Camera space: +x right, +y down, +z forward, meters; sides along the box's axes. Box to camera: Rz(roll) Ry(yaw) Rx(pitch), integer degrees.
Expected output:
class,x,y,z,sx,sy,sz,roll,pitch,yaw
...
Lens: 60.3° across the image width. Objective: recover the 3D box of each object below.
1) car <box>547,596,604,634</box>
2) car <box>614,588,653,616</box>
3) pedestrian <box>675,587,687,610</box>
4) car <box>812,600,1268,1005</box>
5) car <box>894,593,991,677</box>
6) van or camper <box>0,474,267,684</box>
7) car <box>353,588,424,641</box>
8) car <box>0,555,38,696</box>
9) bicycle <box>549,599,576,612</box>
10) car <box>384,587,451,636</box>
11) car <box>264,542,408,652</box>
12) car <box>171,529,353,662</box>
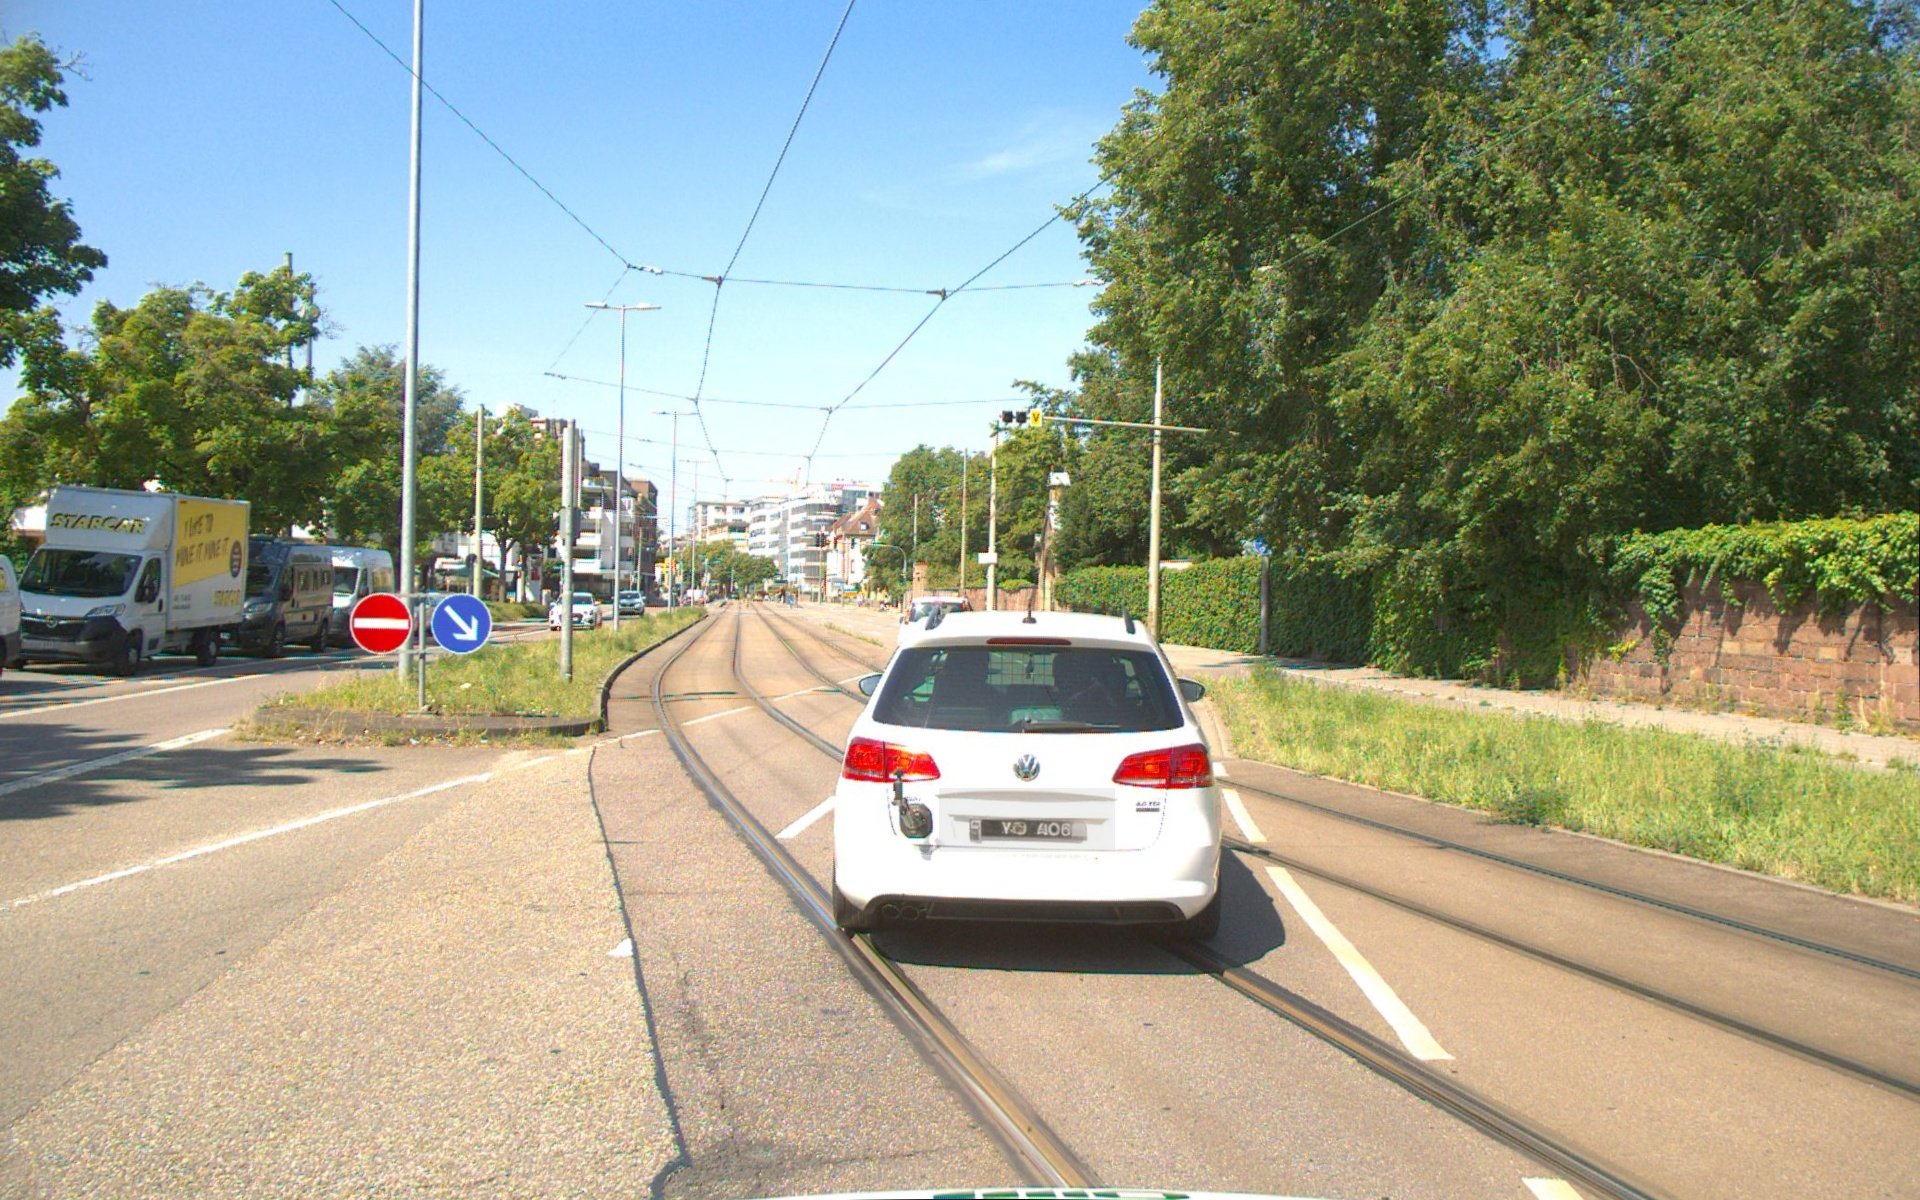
class,x,y,z,sx,sy,sz,roll,pitch,yaw
car,-15.352,0.562,66.171,1.757,1.447,4.329,1,0,-7
car,-19.904,0.093,100.916,2.005,1.625,4.652,1,0,-8
pedestrian,-21.326,-0.141,126.581,0.812,1.769,0.928,1,0,-15
car,0.381,0.779,8.310,1.742,1.516,3.848,1,0,2
car,-0.316,0.701,35.299,1.694,1.624,4.013,2,0,4
van or camper,-14.915,-0.355,30.224,2.154,3.297,6.763,3,0,-6
car,-17.609,0.420,51.066,1.267,1.516,3.671,3,0,-7
car,-14.340,0.353,21.624,2.154,1.974,5.177,1,0,-7
bicycle,-29.704,0.408,123.557,0.542,0.937,2.169,1,0,36
car,-18.191,0.358,55.570,1.267,1.516,4.344,3,0,-7
car,-16.738,-0.100,44.734,2.154,2.676,5.970,3,0,-7
car,-15.893,-0.113,38.081,2.154,2.715,6.070,3,0,-7
